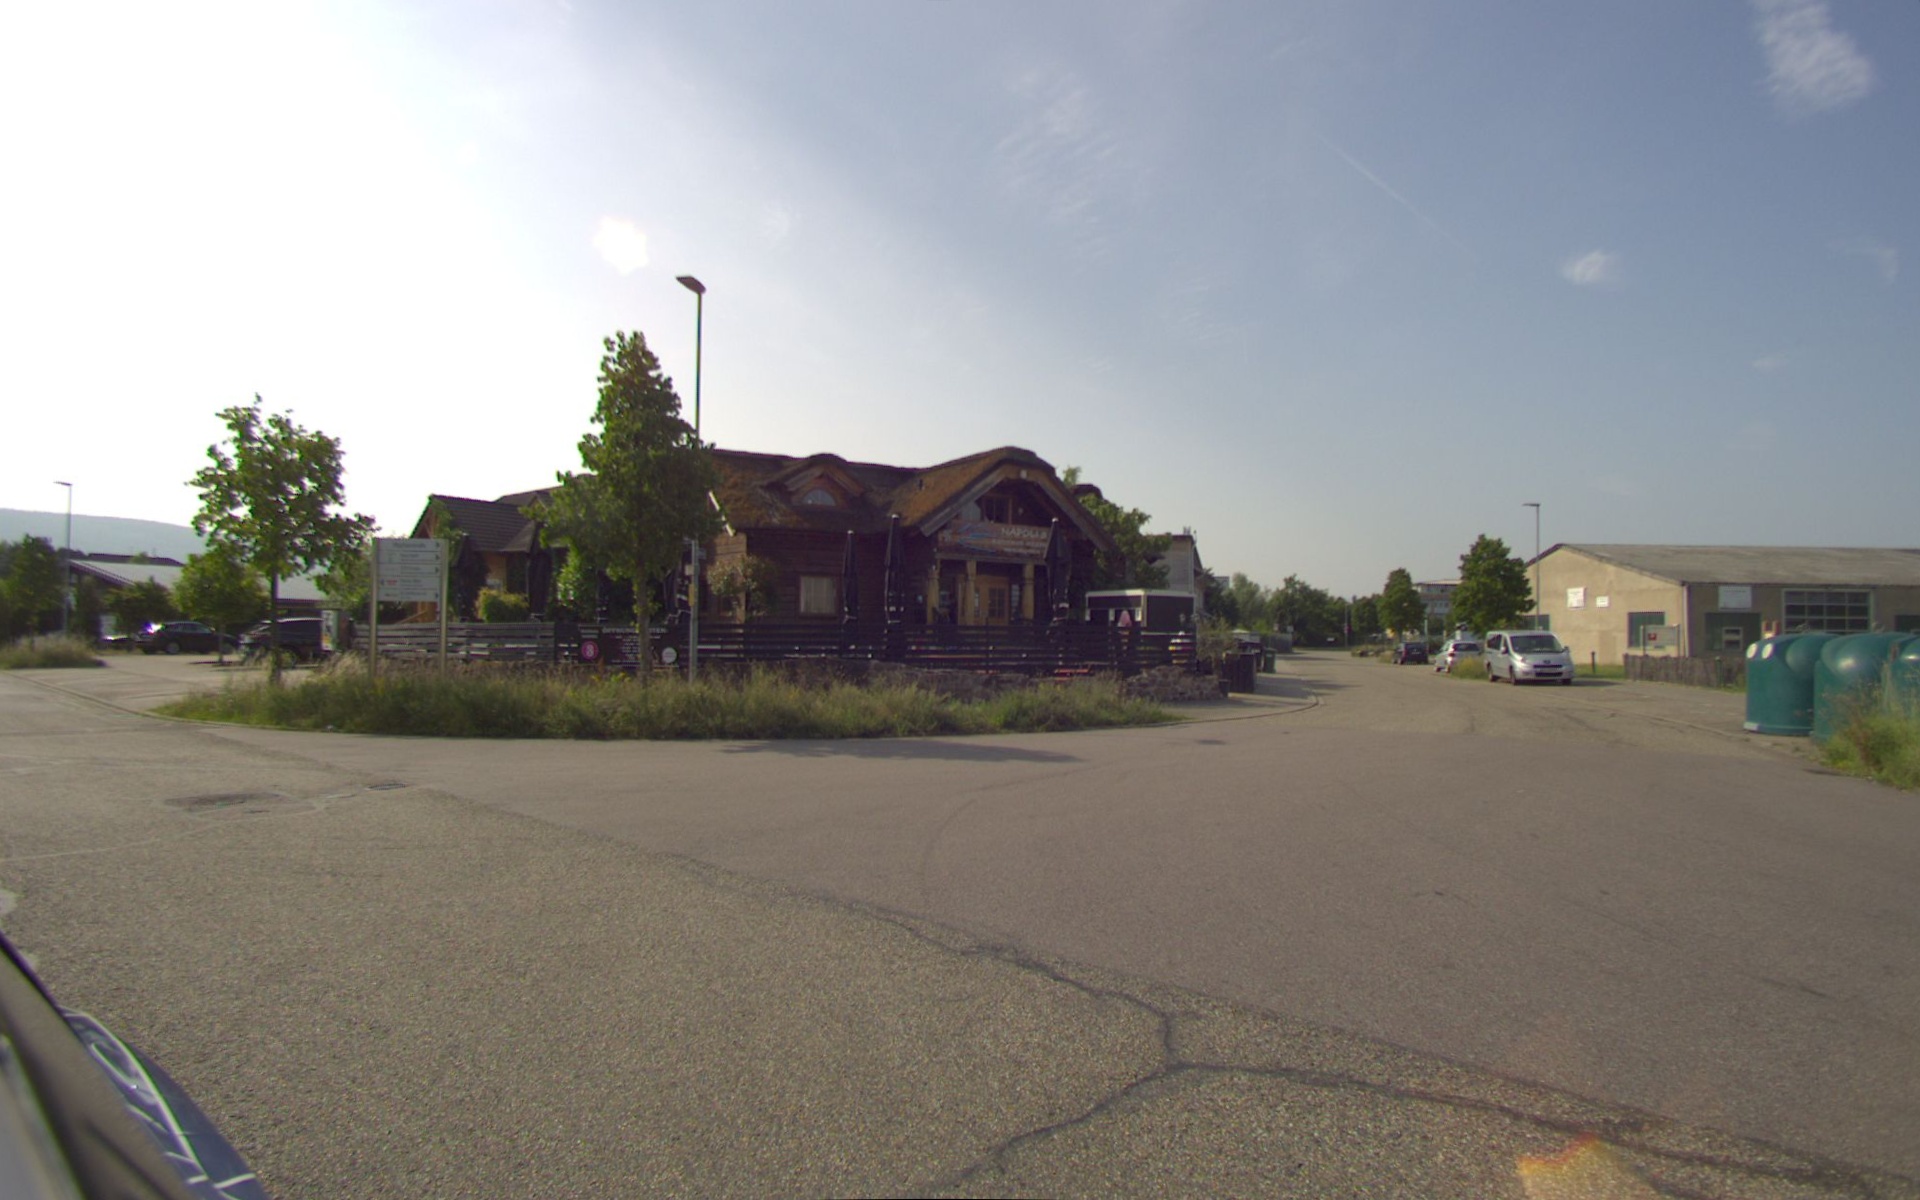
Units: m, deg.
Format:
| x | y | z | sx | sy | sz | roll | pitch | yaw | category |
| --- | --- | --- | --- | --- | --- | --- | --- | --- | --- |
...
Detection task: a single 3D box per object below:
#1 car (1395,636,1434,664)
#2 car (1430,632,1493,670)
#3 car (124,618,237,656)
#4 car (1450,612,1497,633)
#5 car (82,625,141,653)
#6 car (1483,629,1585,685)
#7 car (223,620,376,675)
| x | y | z | sx | sy | sz | roll | pitch | yaw | category |
| --- | --- | --- | --- | --- | --- | --- | --- | --- | --- |
| 29.248 | 3.202 | 65.181 | 1.985 | 1.741 | 3.973 | -1 | -2 | 20 | car |
| 24.246 | 2.430 | 49.096 | 1.982 | 1.741 | 3.980 | 0 | -2 | 15 | car |
| -38.480 | 1.819 | 50.069 | 1.985 | 1.807 | 3.973 | -1 | -2 | 20 | car |
| 53.845 | 2.358 | 106.201 | 3.964 | 2.029 | 1.990 | -1 | 0 | 16 | car |
| -46.646 | 2.135 | 55.607 | 3.542 | 1.492 | 1.596 | -1 | -2 | 35 | car |
| 20.387 | 1.958 | 36.174 | 2.005 | 1.838 | 4.863 | 0 | -2 | 15 | car |
| -22.230 | 1.559 | 34.158 | 2.000 | 1.741 | 3.944 | -1 | -2 | 42 | car |
